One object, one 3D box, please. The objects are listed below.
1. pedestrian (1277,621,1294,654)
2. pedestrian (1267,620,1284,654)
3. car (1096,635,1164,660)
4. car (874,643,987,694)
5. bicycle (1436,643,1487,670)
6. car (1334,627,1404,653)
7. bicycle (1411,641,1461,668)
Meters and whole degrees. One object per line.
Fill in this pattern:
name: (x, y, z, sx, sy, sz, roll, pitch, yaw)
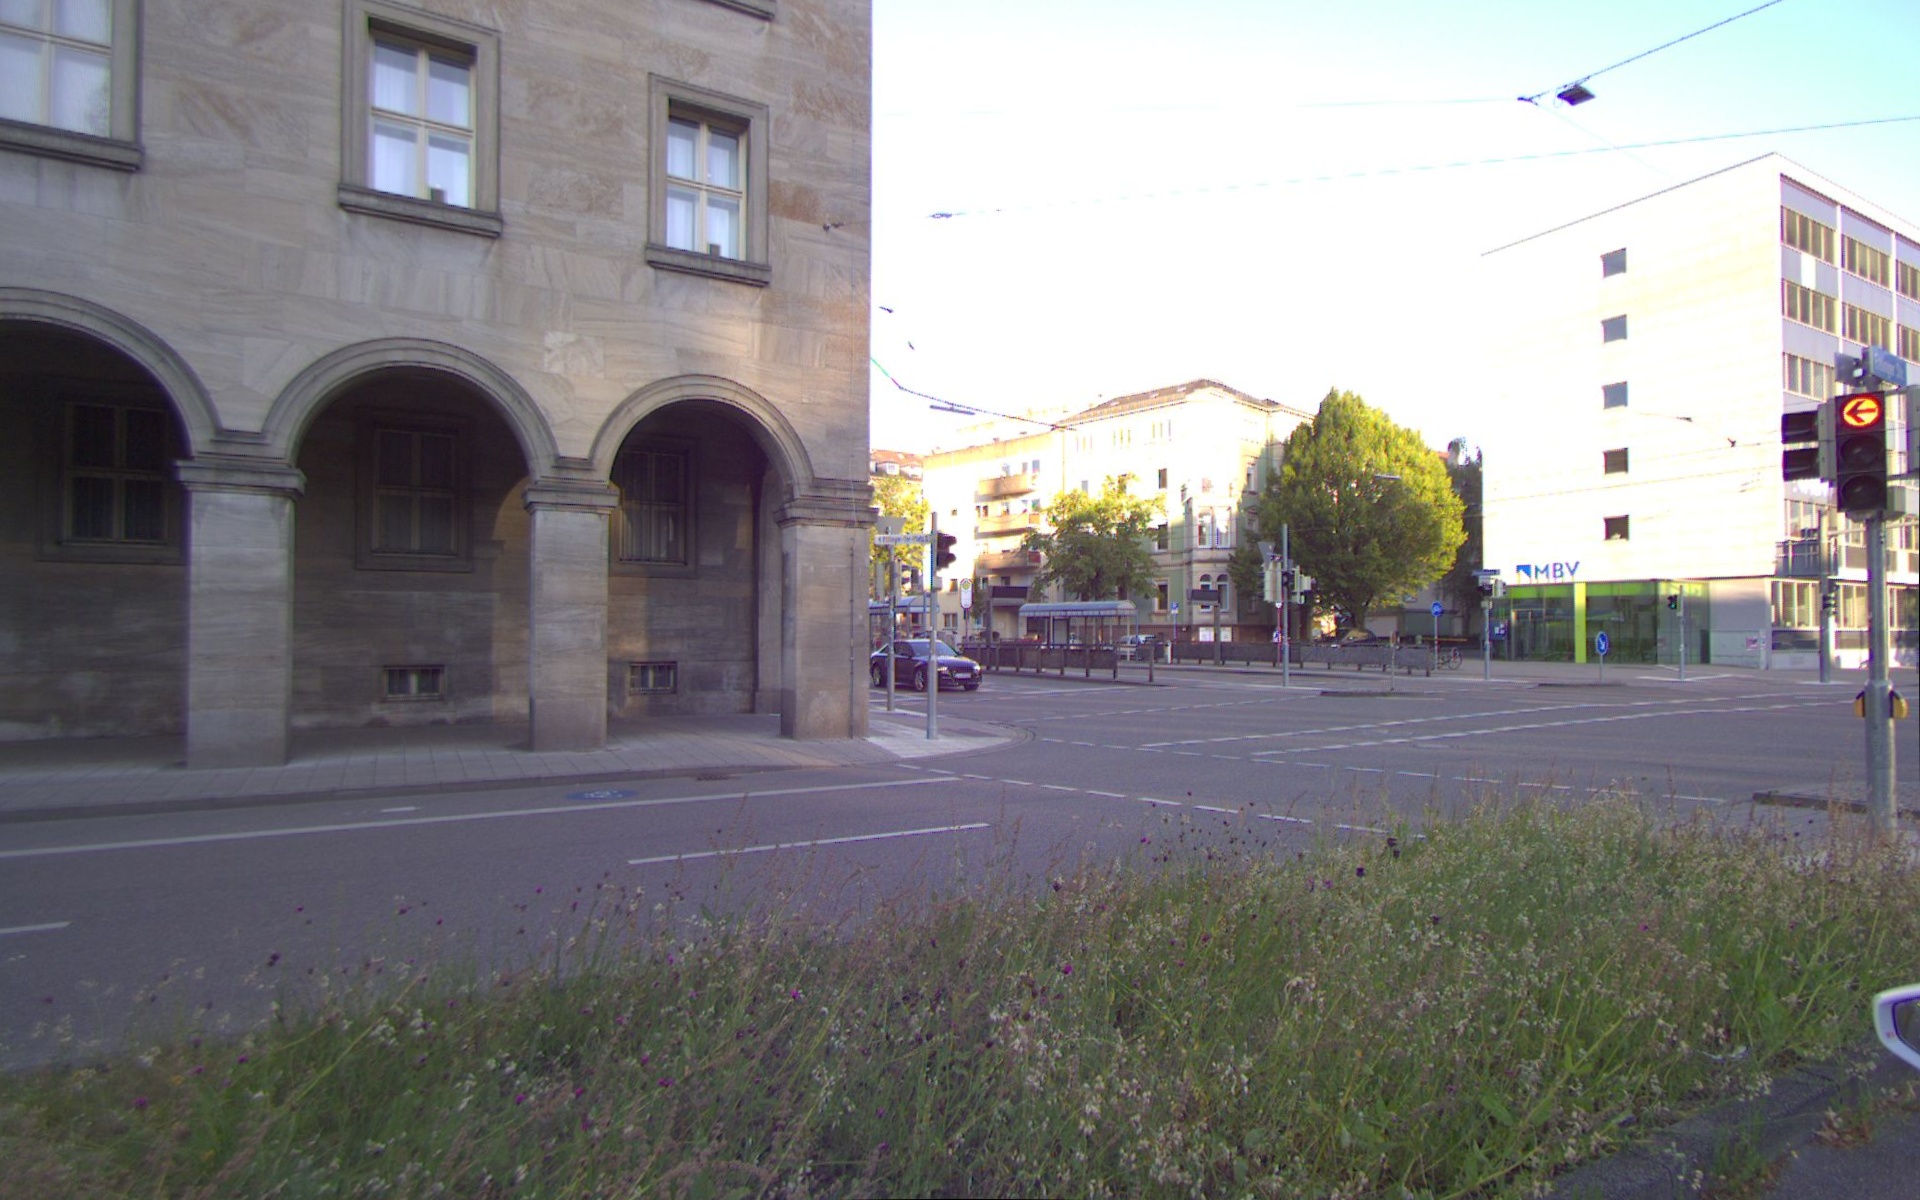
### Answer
pedestrian: (18.133, 2.104, 55.967, 0.718, 1.813, 0.634, 2, -2, -43)
pedestrian: (17.470, 2.048, 55.614, 0.718, 1.813, 0.634, 2, -2, -44)
car: (9.997, 2.771, 59.237, 3.545, 1.390, 1.830, -2, -3, 45)
car: (-0.952, 1.970, 29.769, 1.791, 1.344, 4.120, 1, -2, -27)
bicycle: (21.696, 2.427, 43.422, 2.183, 1.127, 0.834, 1, -2, -26)
car: (22.359, 2.181, 54.901, 3.553, 1.390, 1.826, 1, -2, -32)
bicycle: (21.119, 2.409, 44.571, 2.183, 1.127, 0.834, 1, -2, -26)
